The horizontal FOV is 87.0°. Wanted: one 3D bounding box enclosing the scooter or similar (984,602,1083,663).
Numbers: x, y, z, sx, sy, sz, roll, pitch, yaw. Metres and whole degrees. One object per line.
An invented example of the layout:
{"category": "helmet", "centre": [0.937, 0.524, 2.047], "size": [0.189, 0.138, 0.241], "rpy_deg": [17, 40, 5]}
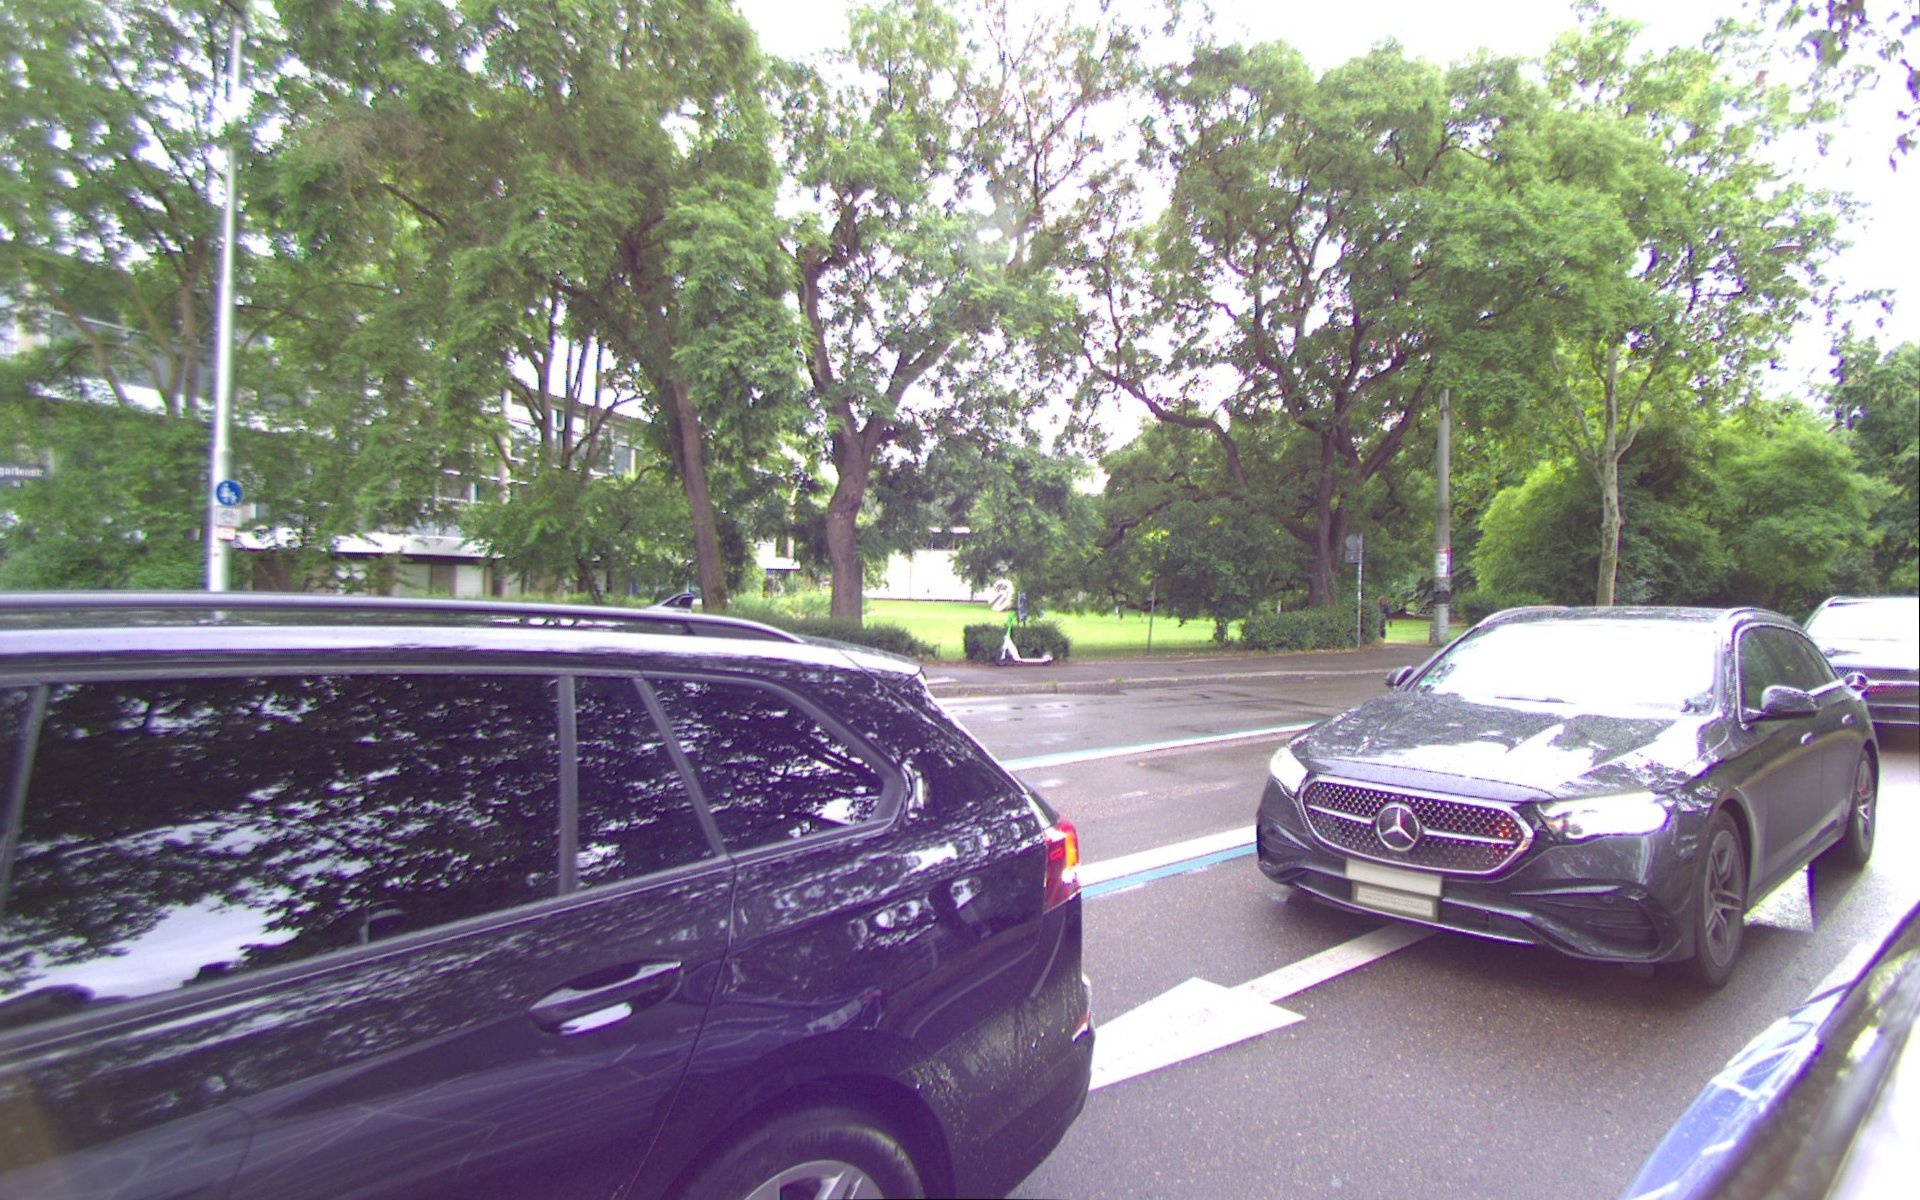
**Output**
{"category": "scooter or similar", "centre": [1.452, 0.644, 19.978], "size": [1.851, 1.114, 0.559], "rpy_deg": [2, 2, -19]}

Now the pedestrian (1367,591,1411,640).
{"category": "pedestrian", "centre": [14.756, 0.514, 34.869], "size": [1.038, 1.626, 1.071], "rpy_deg": [-1, 0, 1]}

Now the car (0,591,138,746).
{"category": "car", "centre": [-11.083, 0.632, 9.910], "size": [4.311, 1.468, 1.872], "rpy_deg": [0, 0, -19]}

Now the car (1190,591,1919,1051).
{"category": "car", "centre": [3.524, 0.710, 5.502], "size": [4.842, 1.464, 1.883], "rpy_deg": [0, -1, -39]}

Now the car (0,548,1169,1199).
{"category": "car", "centre": [-1.723, 0.675, 1.446], "size": [4.435, 1.484, 1.672], "rpy_deg": [1, 0, -42]}

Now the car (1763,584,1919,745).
{"category": "car", "centre": [11.200, 0.676, 11.948], "size": [4.495, 1.629, 1.832], "rpy_deg": [1, -1, -40]}
